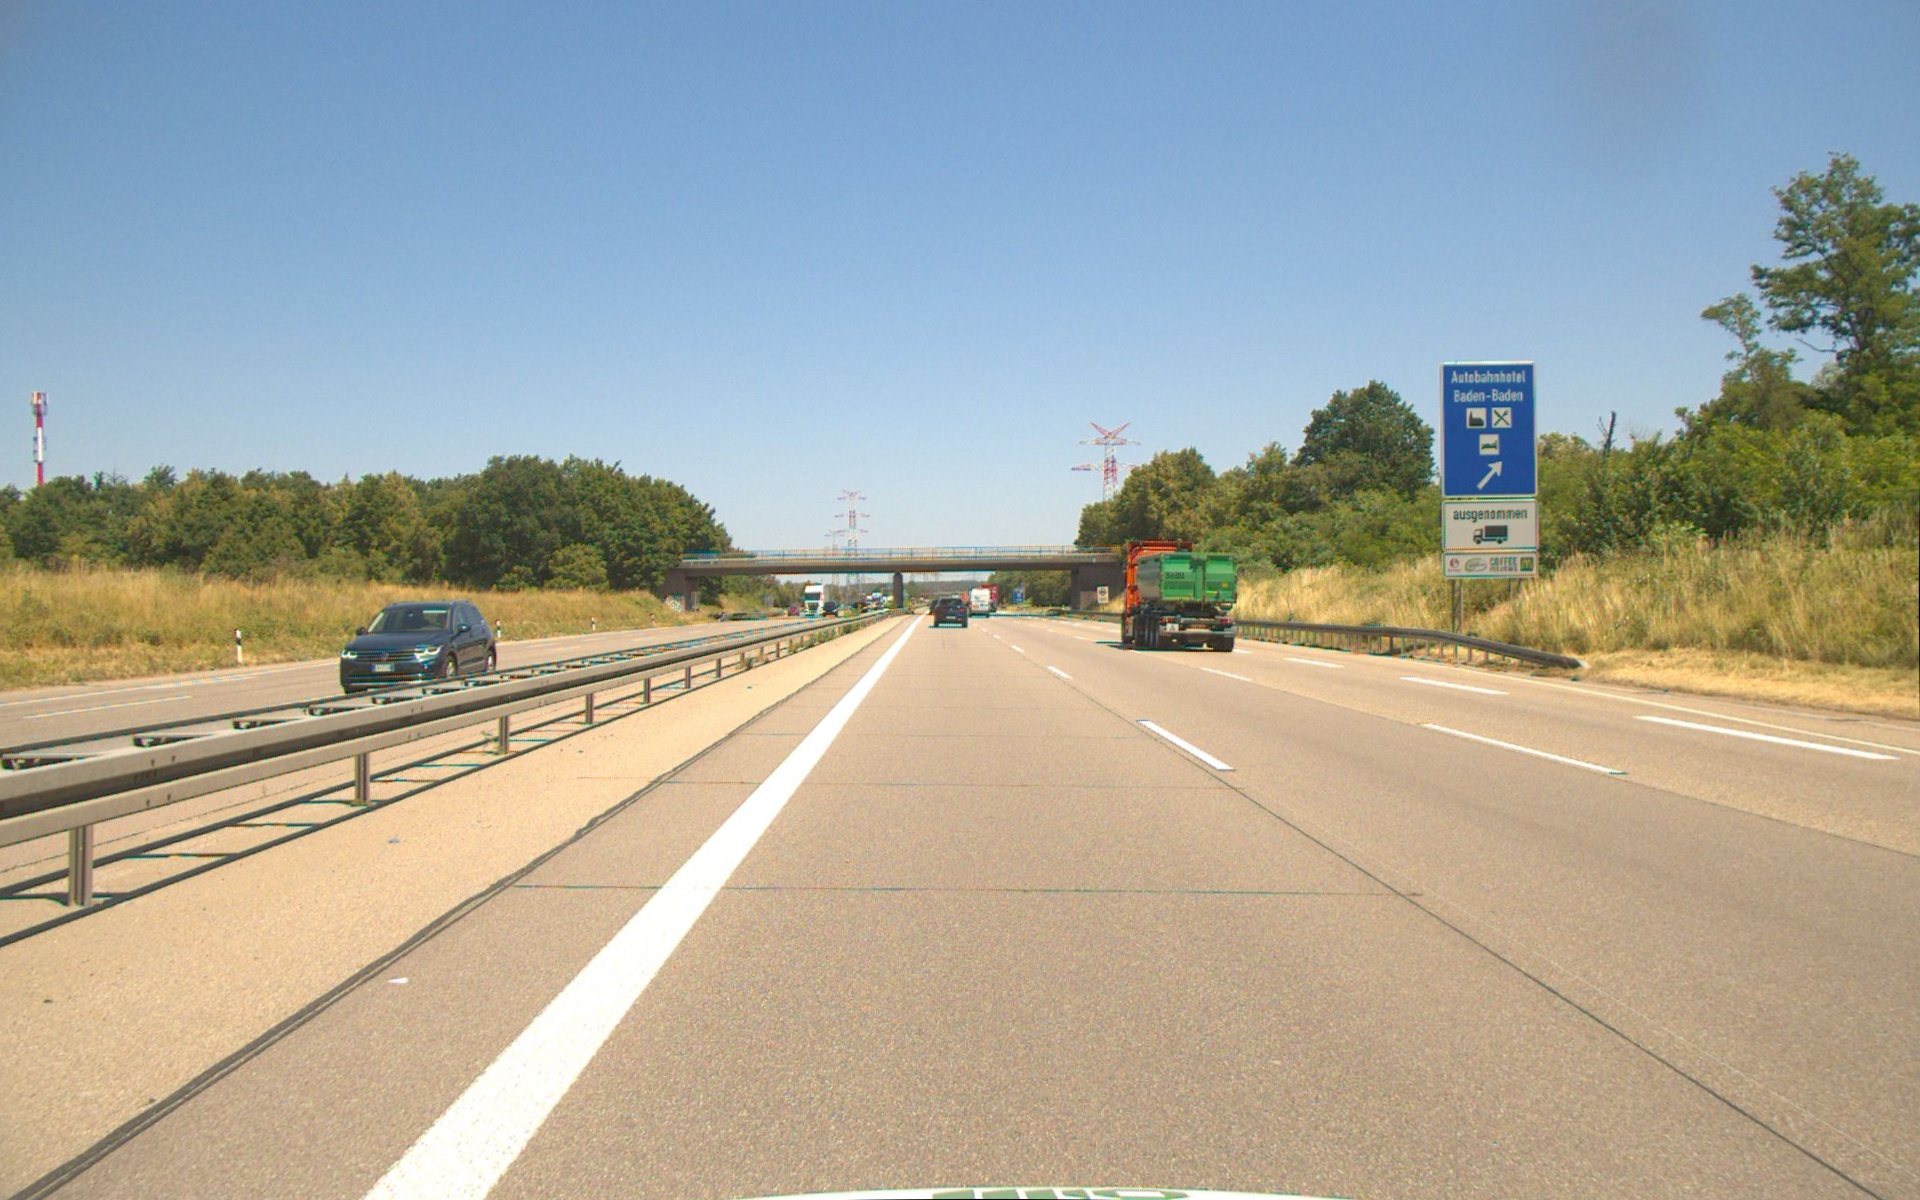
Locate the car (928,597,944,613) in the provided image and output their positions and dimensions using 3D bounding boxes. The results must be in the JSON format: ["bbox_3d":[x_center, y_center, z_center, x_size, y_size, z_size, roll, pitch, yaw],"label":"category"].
[{"bbox_3d":[-2.646,0.519,184.311,1.758,1.780,3.999,1,0,-1],"label":"car"}]

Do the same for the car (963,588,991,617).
[{"bbox_3d":[1.633,0.227,164.290,2.568,2.807,6.095,1,0,-1],"label":"car"}]

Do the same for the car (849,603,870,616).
[{"bbox_3d":[-11.634,1.080,192.363,2.183,1.449,5.298,-3,0,-1],"label":"car"}]

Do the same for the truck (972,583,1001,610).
[{"bbox_3d":[4.059,-0.520,259.865,4.243,4.010,16.075,1,0,0],"label":"truck"}]

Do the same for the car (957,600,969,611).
[{"bbox_3d":[0.429,0.882,254.650,1.711,1.662,4.003,1,0,-1],"label":"car"}]

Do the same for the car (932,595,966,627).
[{"bbox_3d":[-0.667,0.619,96.410,1.953,1.780,3.999,1,0,-1],"label":"car"}]

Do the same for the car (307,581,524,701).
[{"bbox_3d":[-9.922,0.695,30.676,2.316,1.928,5.223,-2,0,-1],"label":"car"}]

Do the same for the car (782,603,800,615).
[{"bbox_3d":[-25.043,1.294,244.695,2.183,1.639,4.786,-2,0,-1],"label":"car"}]

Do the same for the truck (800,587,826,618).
[{"bbox_3d":[-20.384,0.353,229.541,2.889,4.029,6.951,-3,0,-1],"label":"truck"}]

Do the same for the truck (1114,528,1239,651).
[{"bbox_3d":[7.495,-0.346,59.084,2.626,3.864,12.476,1,0,-1],"label":"truck"}]

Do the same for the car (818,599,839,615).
[{"bbox_3d":[-15.952,0.862,200.589,2.183,1.843,5.298,-2,0,-1],"label":"car"}]
